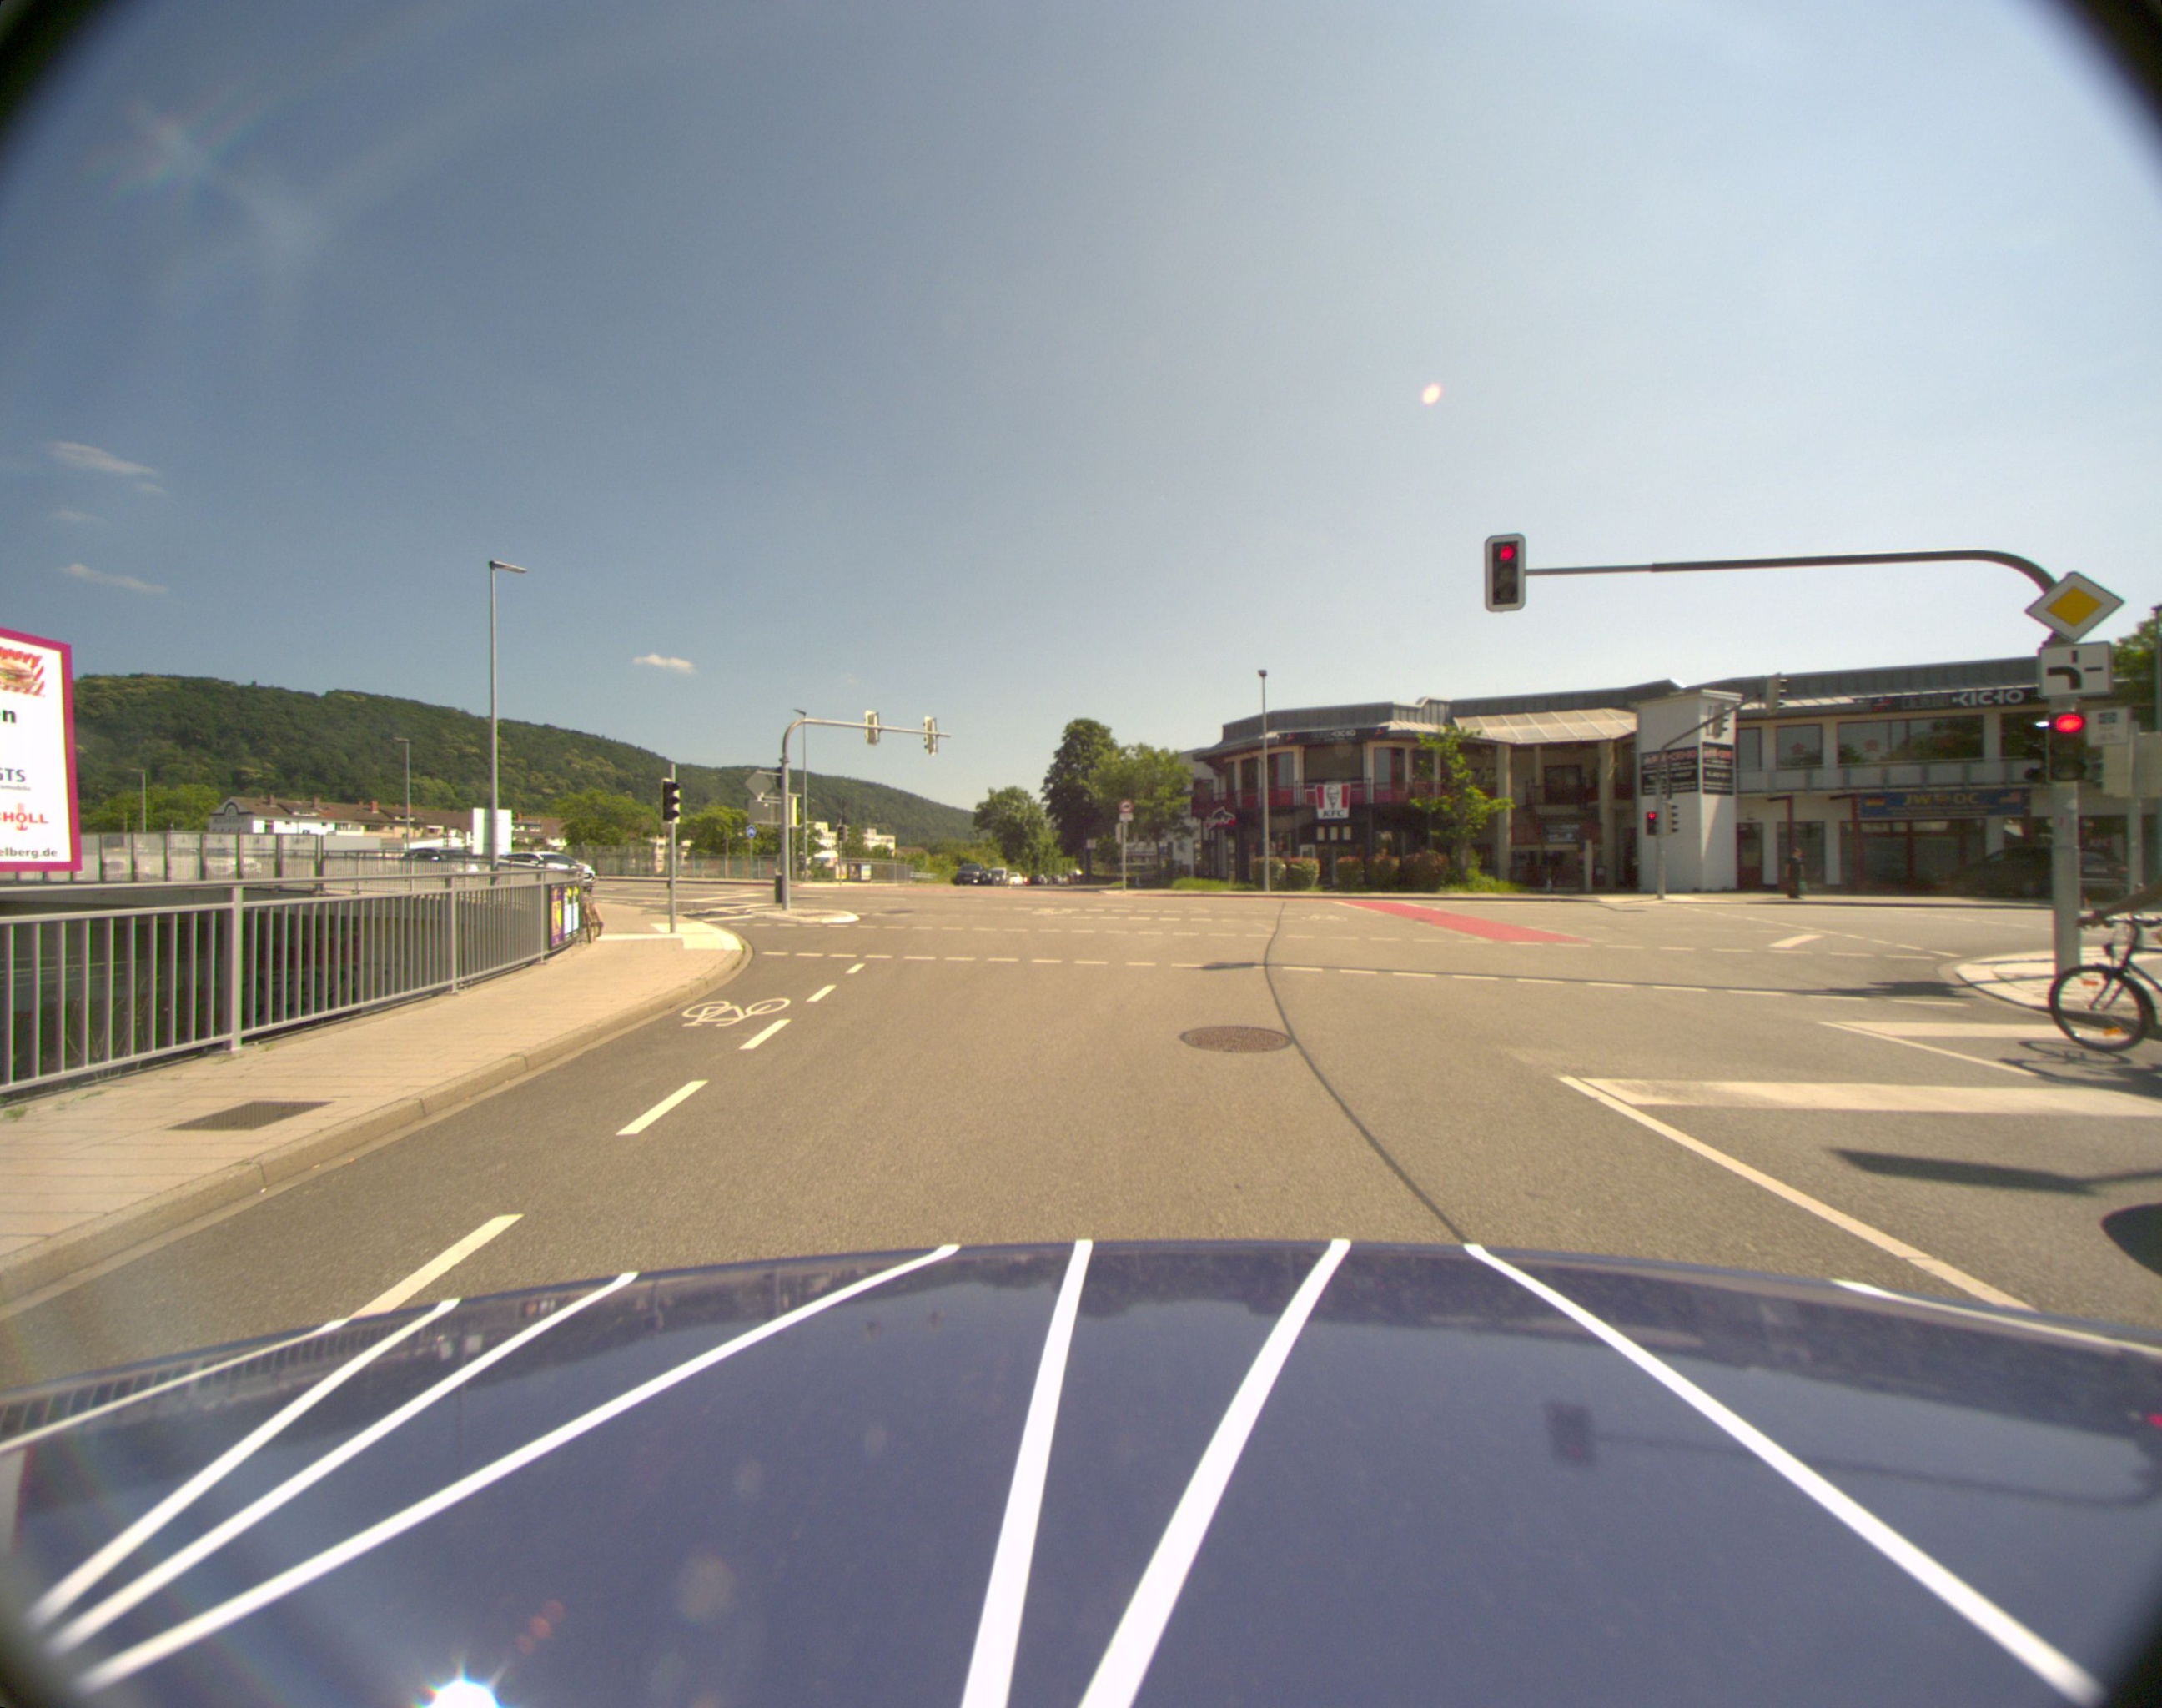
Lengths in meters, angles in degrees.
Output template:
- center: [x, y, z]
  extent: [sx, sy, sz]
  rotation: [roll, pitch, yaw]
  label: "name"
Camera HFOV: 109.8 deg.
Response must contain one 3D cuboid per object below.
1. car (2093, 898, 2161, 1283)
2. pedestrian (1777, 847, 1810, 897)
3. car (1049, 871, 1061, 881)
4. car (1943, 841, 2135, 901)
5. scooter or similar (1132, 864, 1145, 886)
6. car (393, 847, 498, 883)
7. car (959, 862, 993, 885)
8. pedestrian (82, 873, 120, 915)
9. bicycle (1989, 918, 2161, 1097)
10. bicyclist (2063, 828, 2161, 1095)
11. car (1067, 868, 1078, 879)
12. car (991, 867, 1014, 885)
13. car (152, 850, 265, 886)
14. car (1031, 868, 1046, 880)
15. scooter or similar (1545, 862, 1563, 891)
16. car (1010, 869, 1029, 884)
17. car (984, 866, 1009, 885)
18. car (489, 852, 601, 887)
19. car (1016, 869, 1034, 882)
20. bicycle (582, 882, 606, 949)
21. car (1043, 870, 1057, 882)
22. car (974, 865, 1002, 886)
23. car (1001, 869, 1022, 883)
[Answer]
- center: [4.916, 0.911, 0.739]
  extent: [1.783, 1.488, 4.724]
  rotation: [0, 0, 4]
  label: "car"
- center: [23.726, 0.595, 25.308]
  extent: [0.731, 1.636, 0.843]
  rotation: [0, 0, 38]
  label: "pedestrian"
- center: [-3.962, 3.377, 117.811]
  extent: [1.672, 1.524, 4.000]
  rotation: [0, 0, 1]
  label: "car"
- center: [32.121, 0.523, 25.734]
  extent: [1.804, 1.844, 4.666]
  rotation: [0, 0, 19]
  label: "car"
- center: [3.010, 1.081, 39.767]
  extent: [0.426, 1.117, 1.453]
  rotation: [0, 0, 13]
  label: "scooter or similar"
- center: [-29.820, 0.521, 35.665]
  extent: [4.432, 1.617, 1.739]
  rotation: [0, 0, 19]
  label: "car"
- center: [-7.582, 1.397, 55.229]
  extent: [1.830, 1.617, 4.237]
  rotation: [0, 0, 0]
  label: "car"
- center: [-38.454, 1.553, 29.812]
  extent: [0.919, 1.608, 0.646]
  rotation: [0, 0, 19]
  label: "pedestrian"
- center: [7.526, 1.063, 5.172]
  extent: [0.698, 1.098, 1.756]
  rotation: [1, 0, 7]
  label: "bicycle"
- center: [7.577, 0.719, 5.182]
  extent: [0.711, 1.778, 0.809]
  rotation: [0, 0, 8]
  label: "bicyclist"
- center: [-1.527, 3.436, 133.949]
  extent: [1.672, 1.718, 4.000]
  rotation: [-4, 0, 2]
  label: "car"
- center: [-7.247, 2.002, 70.423]
  extent: [1.672, 1.625, 4.000]
  rotation: [0, 0, 1]
  label: "car"
- center: [-43.734, 0.680, 38.089]
  extent: [4.623, 1.709, 2.003]
  rotation: [0, 0, 17]
  label: "car"
- center: [-5.573, 2.626, 100.693]
  extent: [1.672, 1.427, 4.000]
  rotation: [0, 0, 1]
  label: "car"
- center: [18.778, 0.865, 30.175]
  extent: [0.499, 1.117, 1.507]
  rotation: [0, 0, 27]
  label: "scooter or similar"
- center: [-6.702, 2.410, 83.082]
  extent: [1.672, 1.524, 4.000]
  rotation: [0, 0, 1]
  label: "car"
- center: [-7.215, 1.851, 65.097]
  extent: [1.672, 1.524, 4.000]
  rotation: [0, 0, 1]
  label: "car"
- center: [-23.407, 0.665, 33.189]
  extent: [4.400, 1.461, 1.739]
  rotation: [0, 0, 19]
  label: "car"
- center: [-6.622, 2.547, 90.005]
  extent: [1.672, 1.427, 4.000]
  rotation: [0, 0, 1]
  label: "car"
- center: [-8.815, 1.084, 13.767]
  extent: [0.298, 1.094, 1.616]
  rotation: [0, 0, -30]
  label: "bicycle"
- center: [-4.561, 3.210, 111.356]
  extent: [1.672, 1.524, 4.000]
  rotation: [-4, 0, 2]
  label: "car"
- center: [-7.298, 1.649, 59.969]
  extent: [1.672, 1.524, 4.000]
  rotation: [0, 0, 1]
  label: "car"
- center: [-6.982, 2.211, 76.494]
  extent: [1.672, 1.309, 4.000]
  rotation: [0, 0, 1]
  label: "car"
